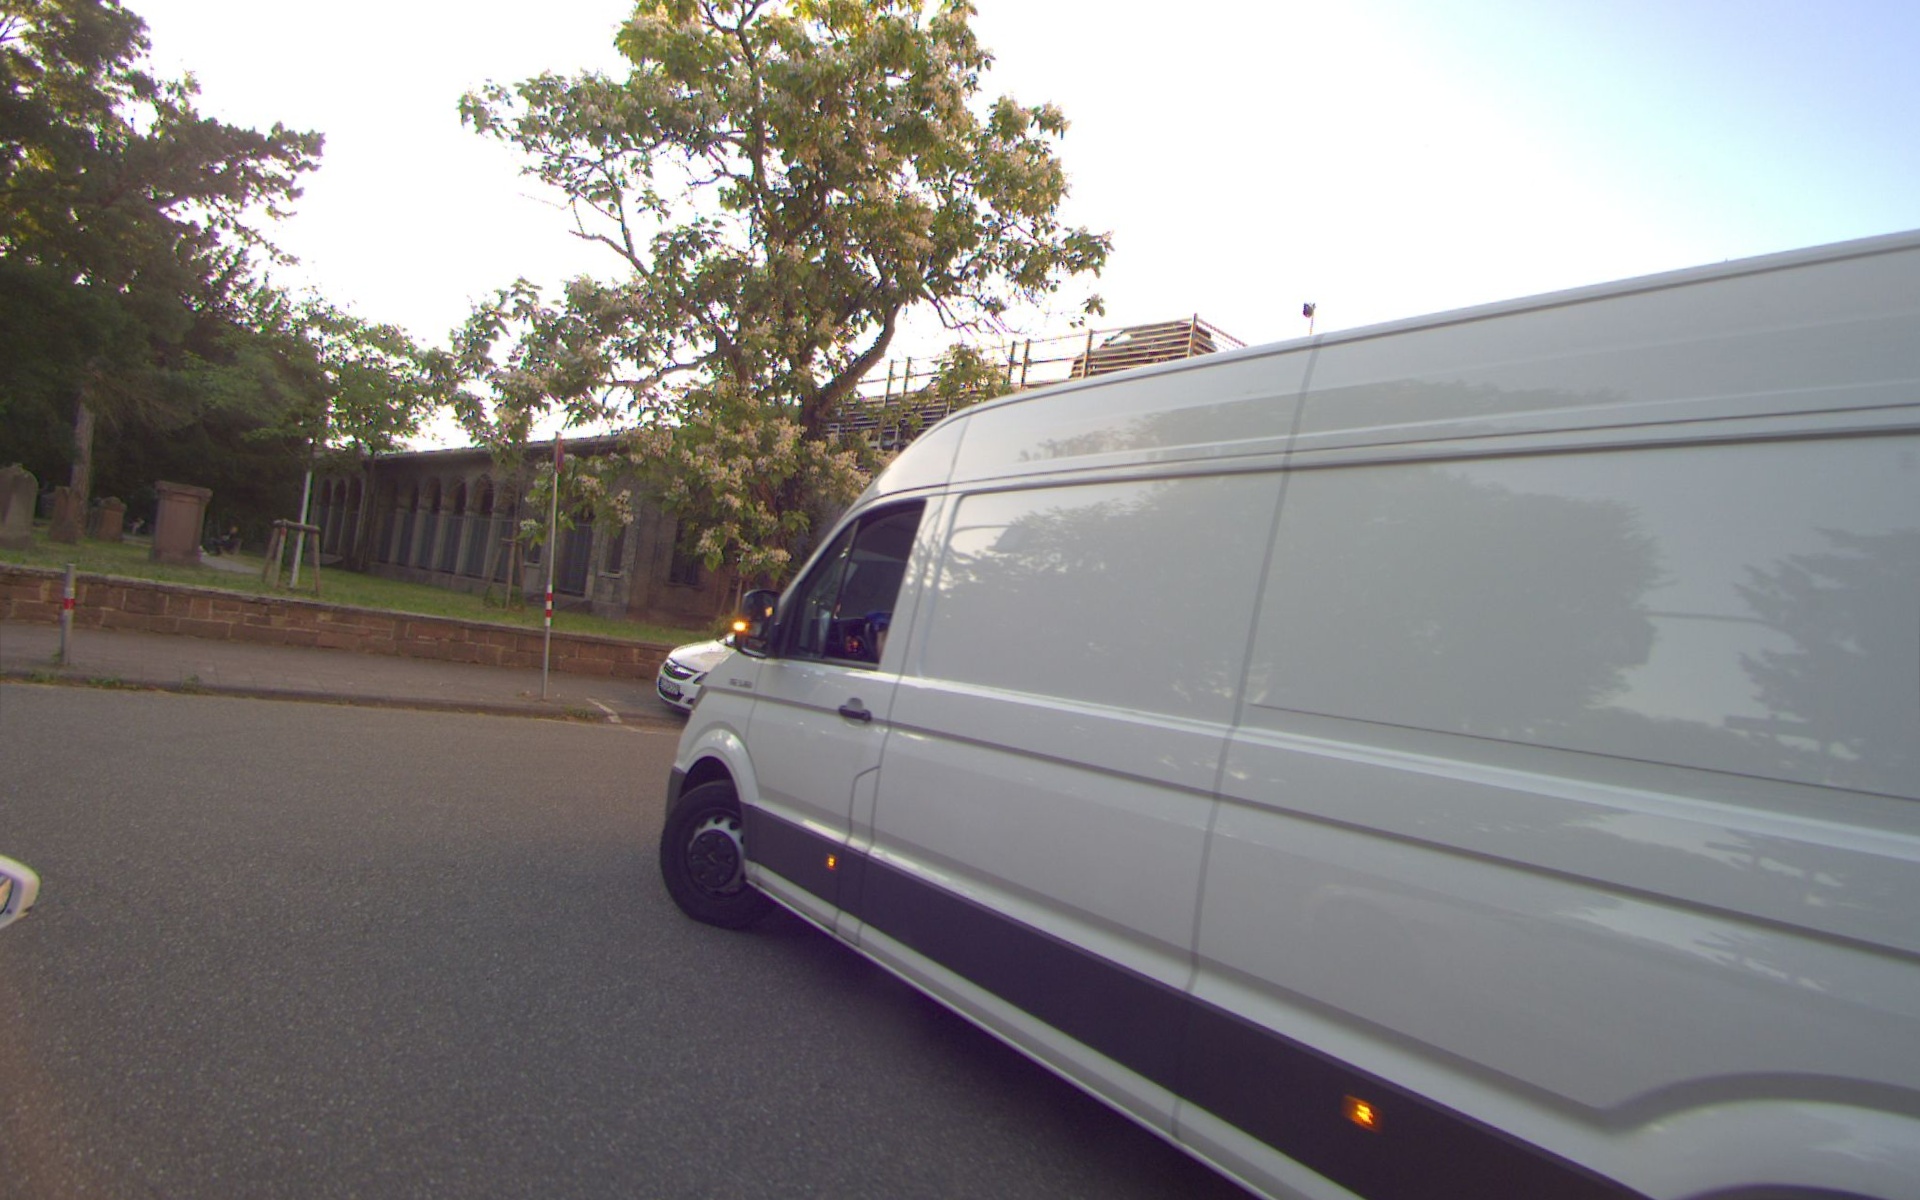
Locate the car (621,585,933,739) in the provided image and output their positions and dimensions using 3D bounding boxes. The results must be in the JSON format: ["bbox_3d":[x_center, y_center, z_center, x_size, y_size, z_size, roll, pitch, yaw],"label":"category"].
[{"bbox_3d":[-2.513,0.942,14.425,1.932,1.591,3.851,7,-4,44],"label":"car"}]

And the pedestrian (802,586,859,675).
[{"bbox_3d":[-2.239,0.528,17.436,0.542,1.436,0.632,9,-1,-39],"label":"pedestrian"}]

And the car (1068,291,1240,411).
[{"bbox_3d":[5.087,-6.507,26.841,1.987,2.035,3.958,11,-4,-38],"label":"car"}]

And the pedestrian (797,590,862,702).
[{"bbox_3d":[-2.255,0.793,17.387,0.592,1.828,0.613,11,-3,-42],"label":"pedestrian"}]

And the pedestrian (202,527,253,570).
[{"bbox_3d":[-28.912,-2.034,39.696,1.326,1.461,1.033,10,-2,-45],"label":"pedestrian"}]

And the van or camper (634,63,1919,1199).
[{"bbox_3d":[1.111,0.515,3.612,1.986,2.646,6.339,11,-4,-37],"label":"van or camper"}]
